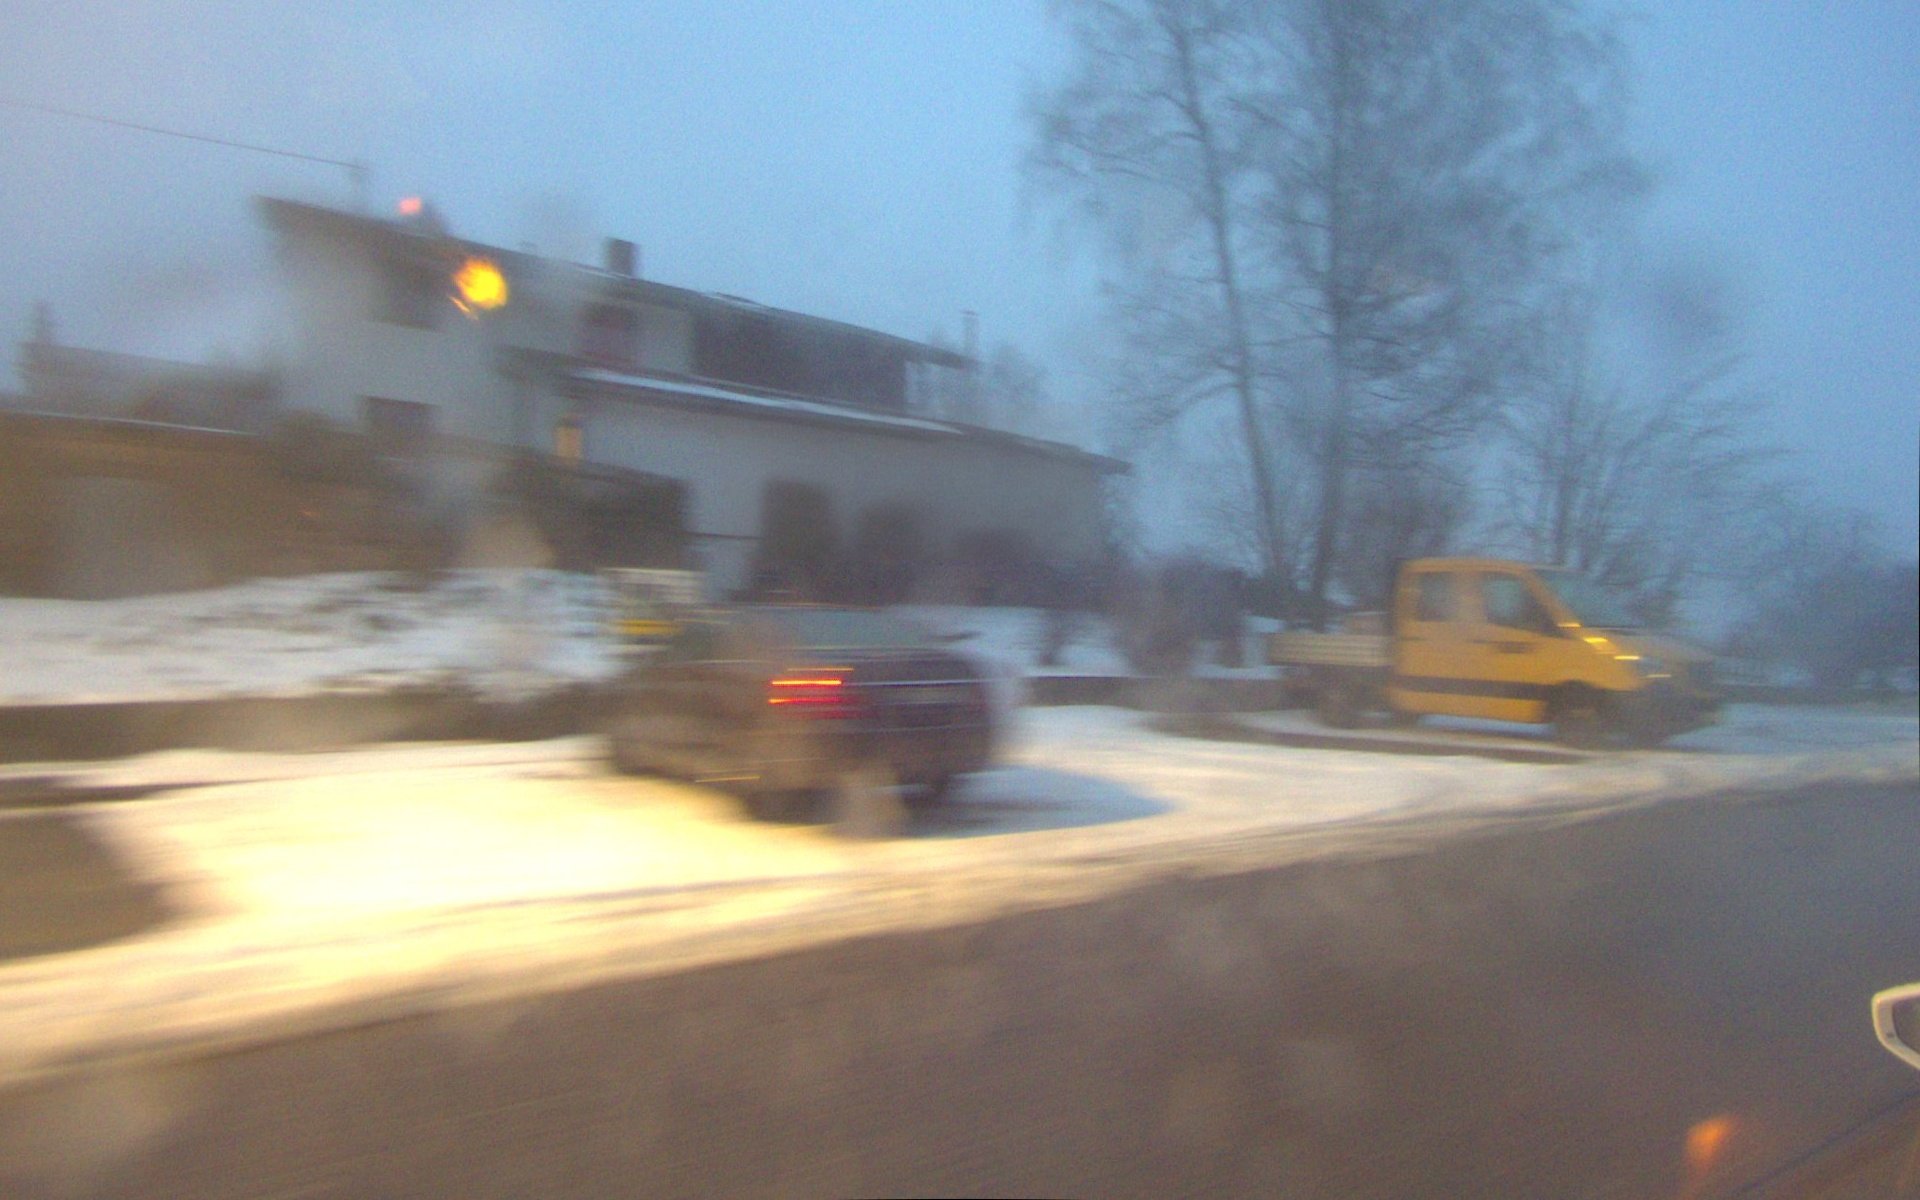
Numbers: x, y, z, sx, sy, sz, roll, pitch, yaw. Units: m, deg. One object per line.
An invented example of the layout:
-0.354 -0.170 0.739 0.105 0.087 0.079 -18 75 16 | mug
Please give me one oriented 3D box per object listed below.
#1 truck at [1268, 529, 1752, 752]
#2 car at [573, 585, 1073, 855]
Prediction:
6.859 0.526 13.218 1.980 2.333 5.227 1 -2 -35 | truck
-1.472 0.768 8.233 2.102 1.504 4.856 1 -2 -35 | car
